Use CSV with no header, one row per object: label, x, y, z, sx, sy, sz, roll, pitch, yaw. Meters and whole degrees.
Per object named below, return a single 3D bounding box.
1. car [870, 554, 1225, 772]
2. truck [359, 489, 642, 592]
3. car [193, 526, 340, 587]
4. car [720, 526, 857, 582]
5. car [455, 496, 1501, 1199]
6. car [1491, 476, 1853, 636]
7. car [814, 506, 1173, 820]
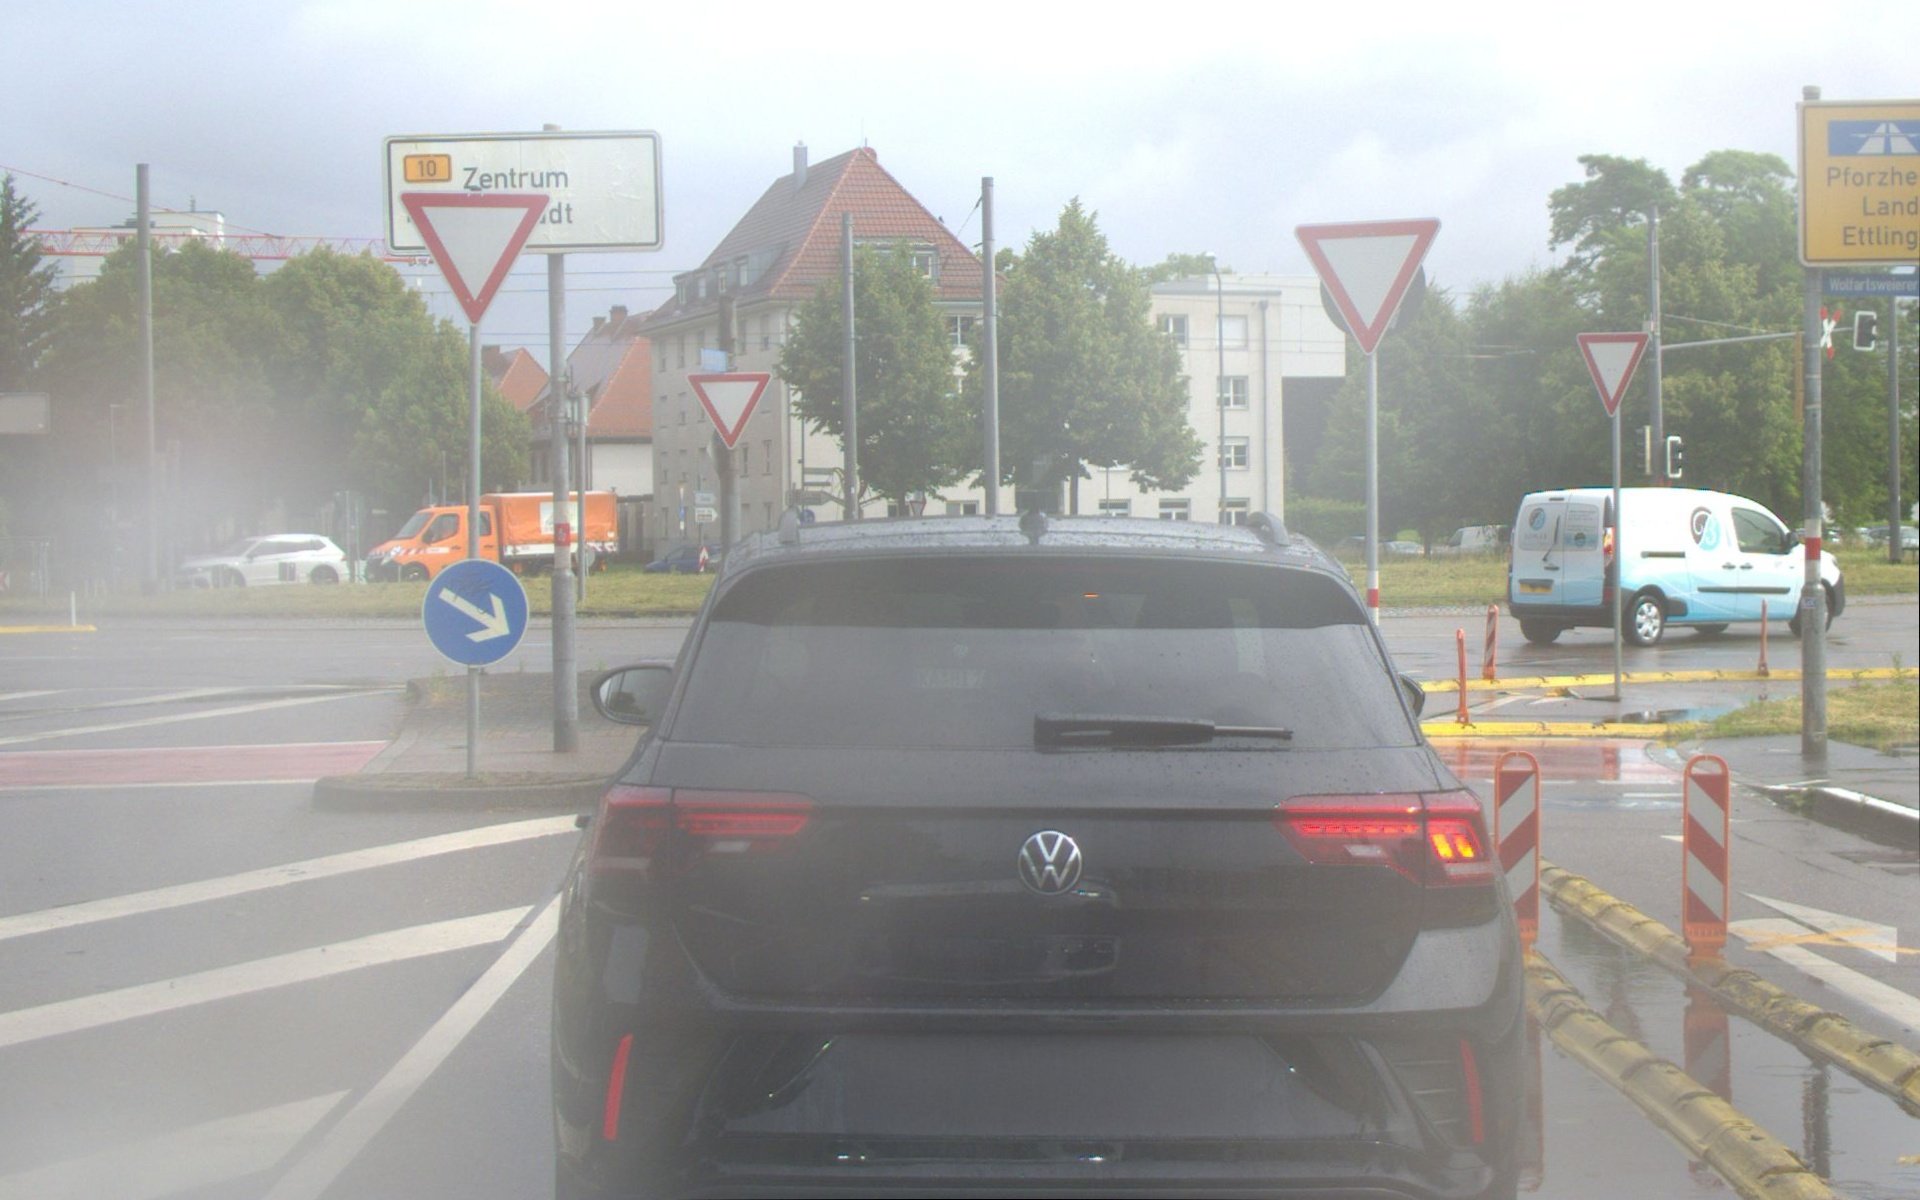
car,0.870,0.497,30.399,1.995,1.719,4.353,0,1,17
truck,-12.139,-1.605,91.069,7.066,2.641,2.330,-1,1,-29
car,-18.478,-1.179,91.638,3.496,1.579,1.567,-1,2,-39
car,-4.974,-1.329,99.438,3.871,1.579,1.567,0,1,-6
car,-0.067,0.590,7.465,1.708,1.568,3.683,0,1,-3
car,8.496,-0.547,40.846,4.391,1.803,1.870,-1,2,-39
car,0.093,0.262,18.444,1.735,1.509,3.604,0,1,-2
